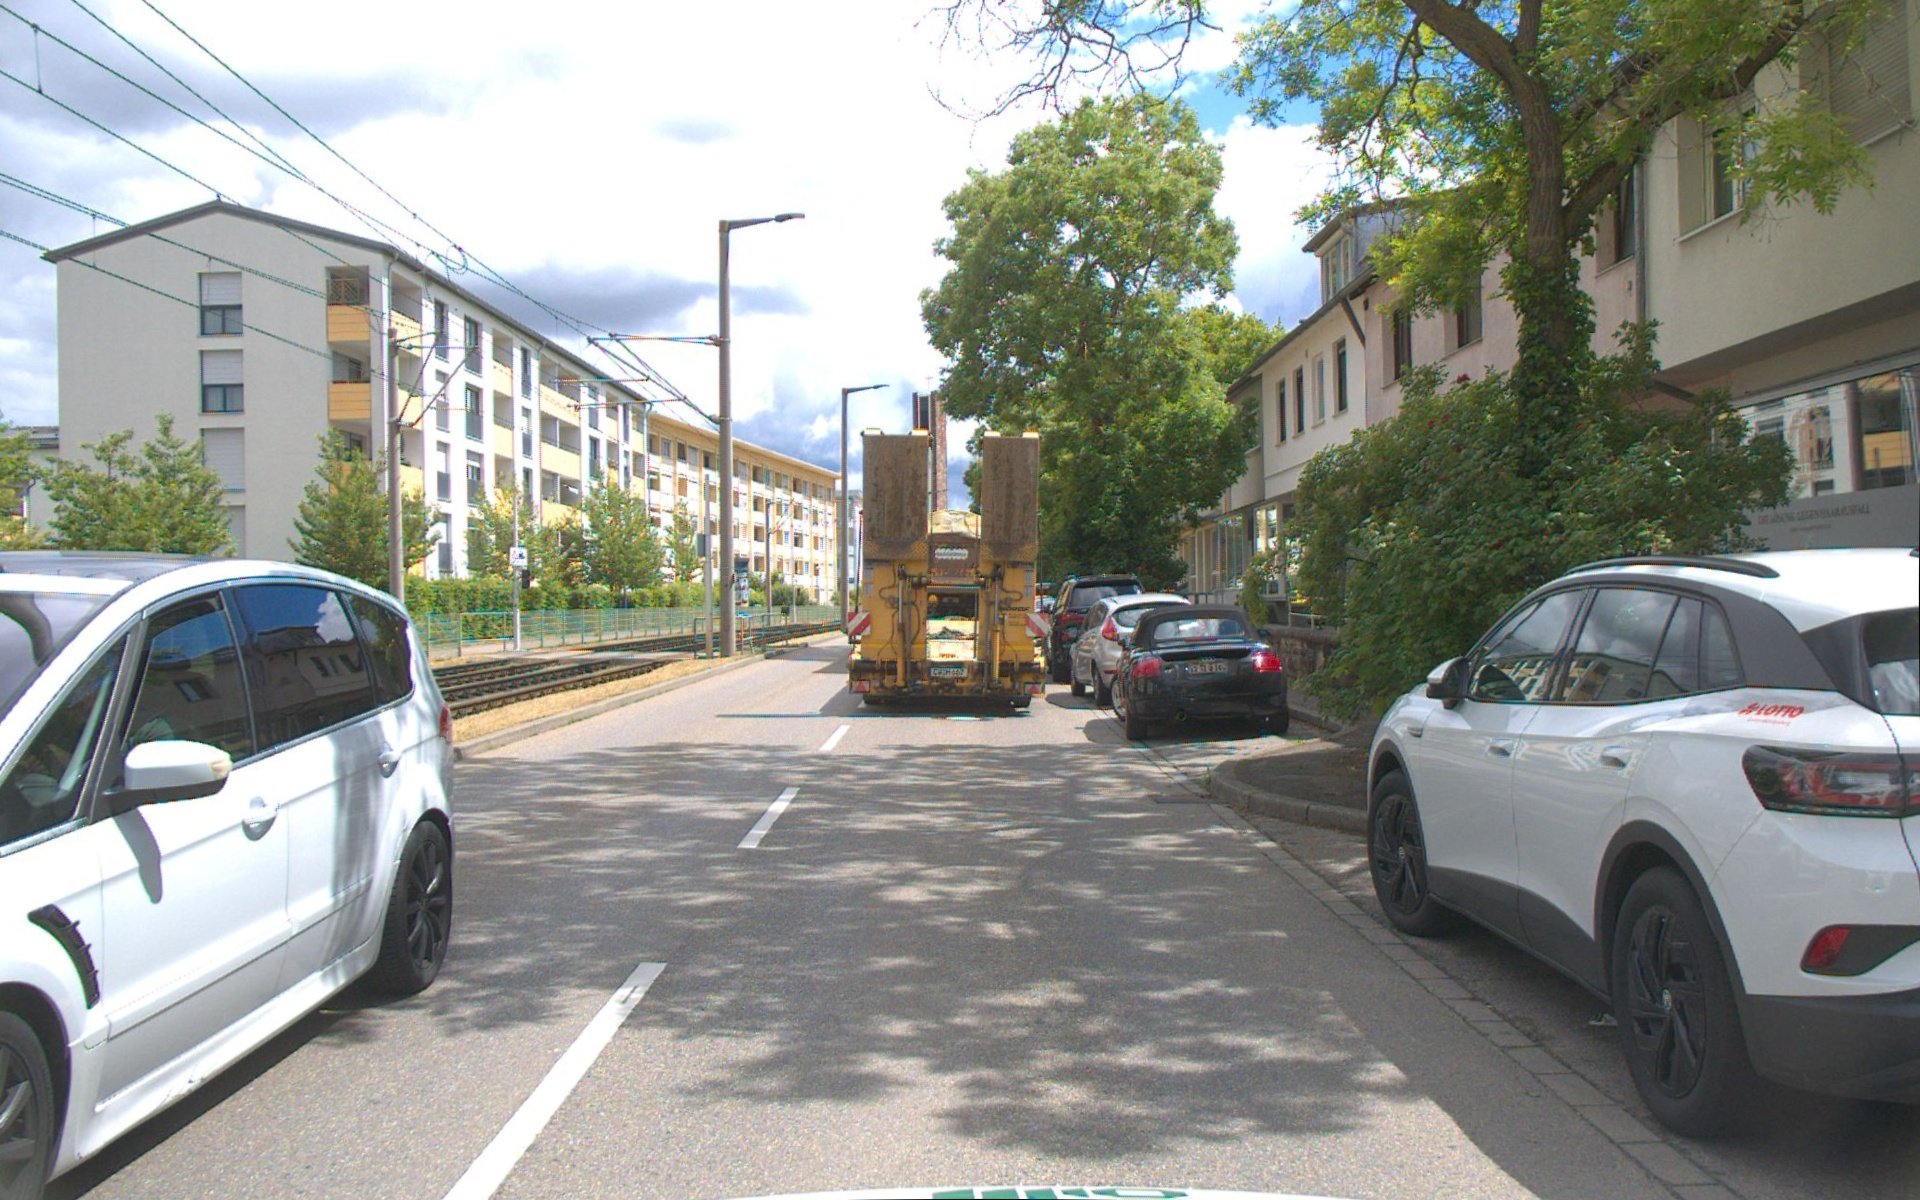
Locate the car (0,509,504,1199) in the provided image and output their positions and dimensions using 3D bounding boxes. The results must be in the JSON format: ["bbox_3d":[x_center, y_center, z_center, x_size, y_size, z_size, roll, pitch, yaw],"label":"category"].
[{"bbox_3d":[-2.814,0.628,4.713,1.780,1.642,4.601,1,0,-1],"label":"car"}]

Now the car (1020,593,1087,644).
[{"bbox_3d":[2.865,0.562,51.382,1.719,1.467,4.493,-1,0,-1],"label":"car"}]

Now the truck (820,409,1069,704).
[{"bbox_3d":[-0.254,-0.556,26.695,3.060,3.627,12.457,0,0,-1],"label":"truck"}]

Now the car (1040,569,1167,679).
[{"bbox_3d":[2.566,0.400,30.666,1.973,1.820,5.076,-1,0,1],"label":"car"}]

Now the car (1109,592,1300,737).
[{"bbox_3d":[2.650,0.644,18.713,1.734,1.373,4.002,-3,0,3],"label":"car"}]

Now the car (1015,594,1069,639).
[{"bbox_3d":[2.852,0.547,58.364,1.719,1.467,4.341,-2,0,1],"label":"car"}]

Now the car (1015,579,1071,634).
[{"bbox_3d":[3.188,0.244,64.714,1.875,1.993,5.745,-1,0,0],"label":"car"}]

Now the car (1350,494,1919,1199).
[{"bbox_3d":[2.857,0.589,5.933,1.800,1.672,4.428,0,0,-1],"label":"car"}]

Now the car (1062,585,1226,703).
[{"bbox_3d":[2.568,0.592,23.946,1.736,1.467,3.898,-3,0,-2],"label":"car"}]
